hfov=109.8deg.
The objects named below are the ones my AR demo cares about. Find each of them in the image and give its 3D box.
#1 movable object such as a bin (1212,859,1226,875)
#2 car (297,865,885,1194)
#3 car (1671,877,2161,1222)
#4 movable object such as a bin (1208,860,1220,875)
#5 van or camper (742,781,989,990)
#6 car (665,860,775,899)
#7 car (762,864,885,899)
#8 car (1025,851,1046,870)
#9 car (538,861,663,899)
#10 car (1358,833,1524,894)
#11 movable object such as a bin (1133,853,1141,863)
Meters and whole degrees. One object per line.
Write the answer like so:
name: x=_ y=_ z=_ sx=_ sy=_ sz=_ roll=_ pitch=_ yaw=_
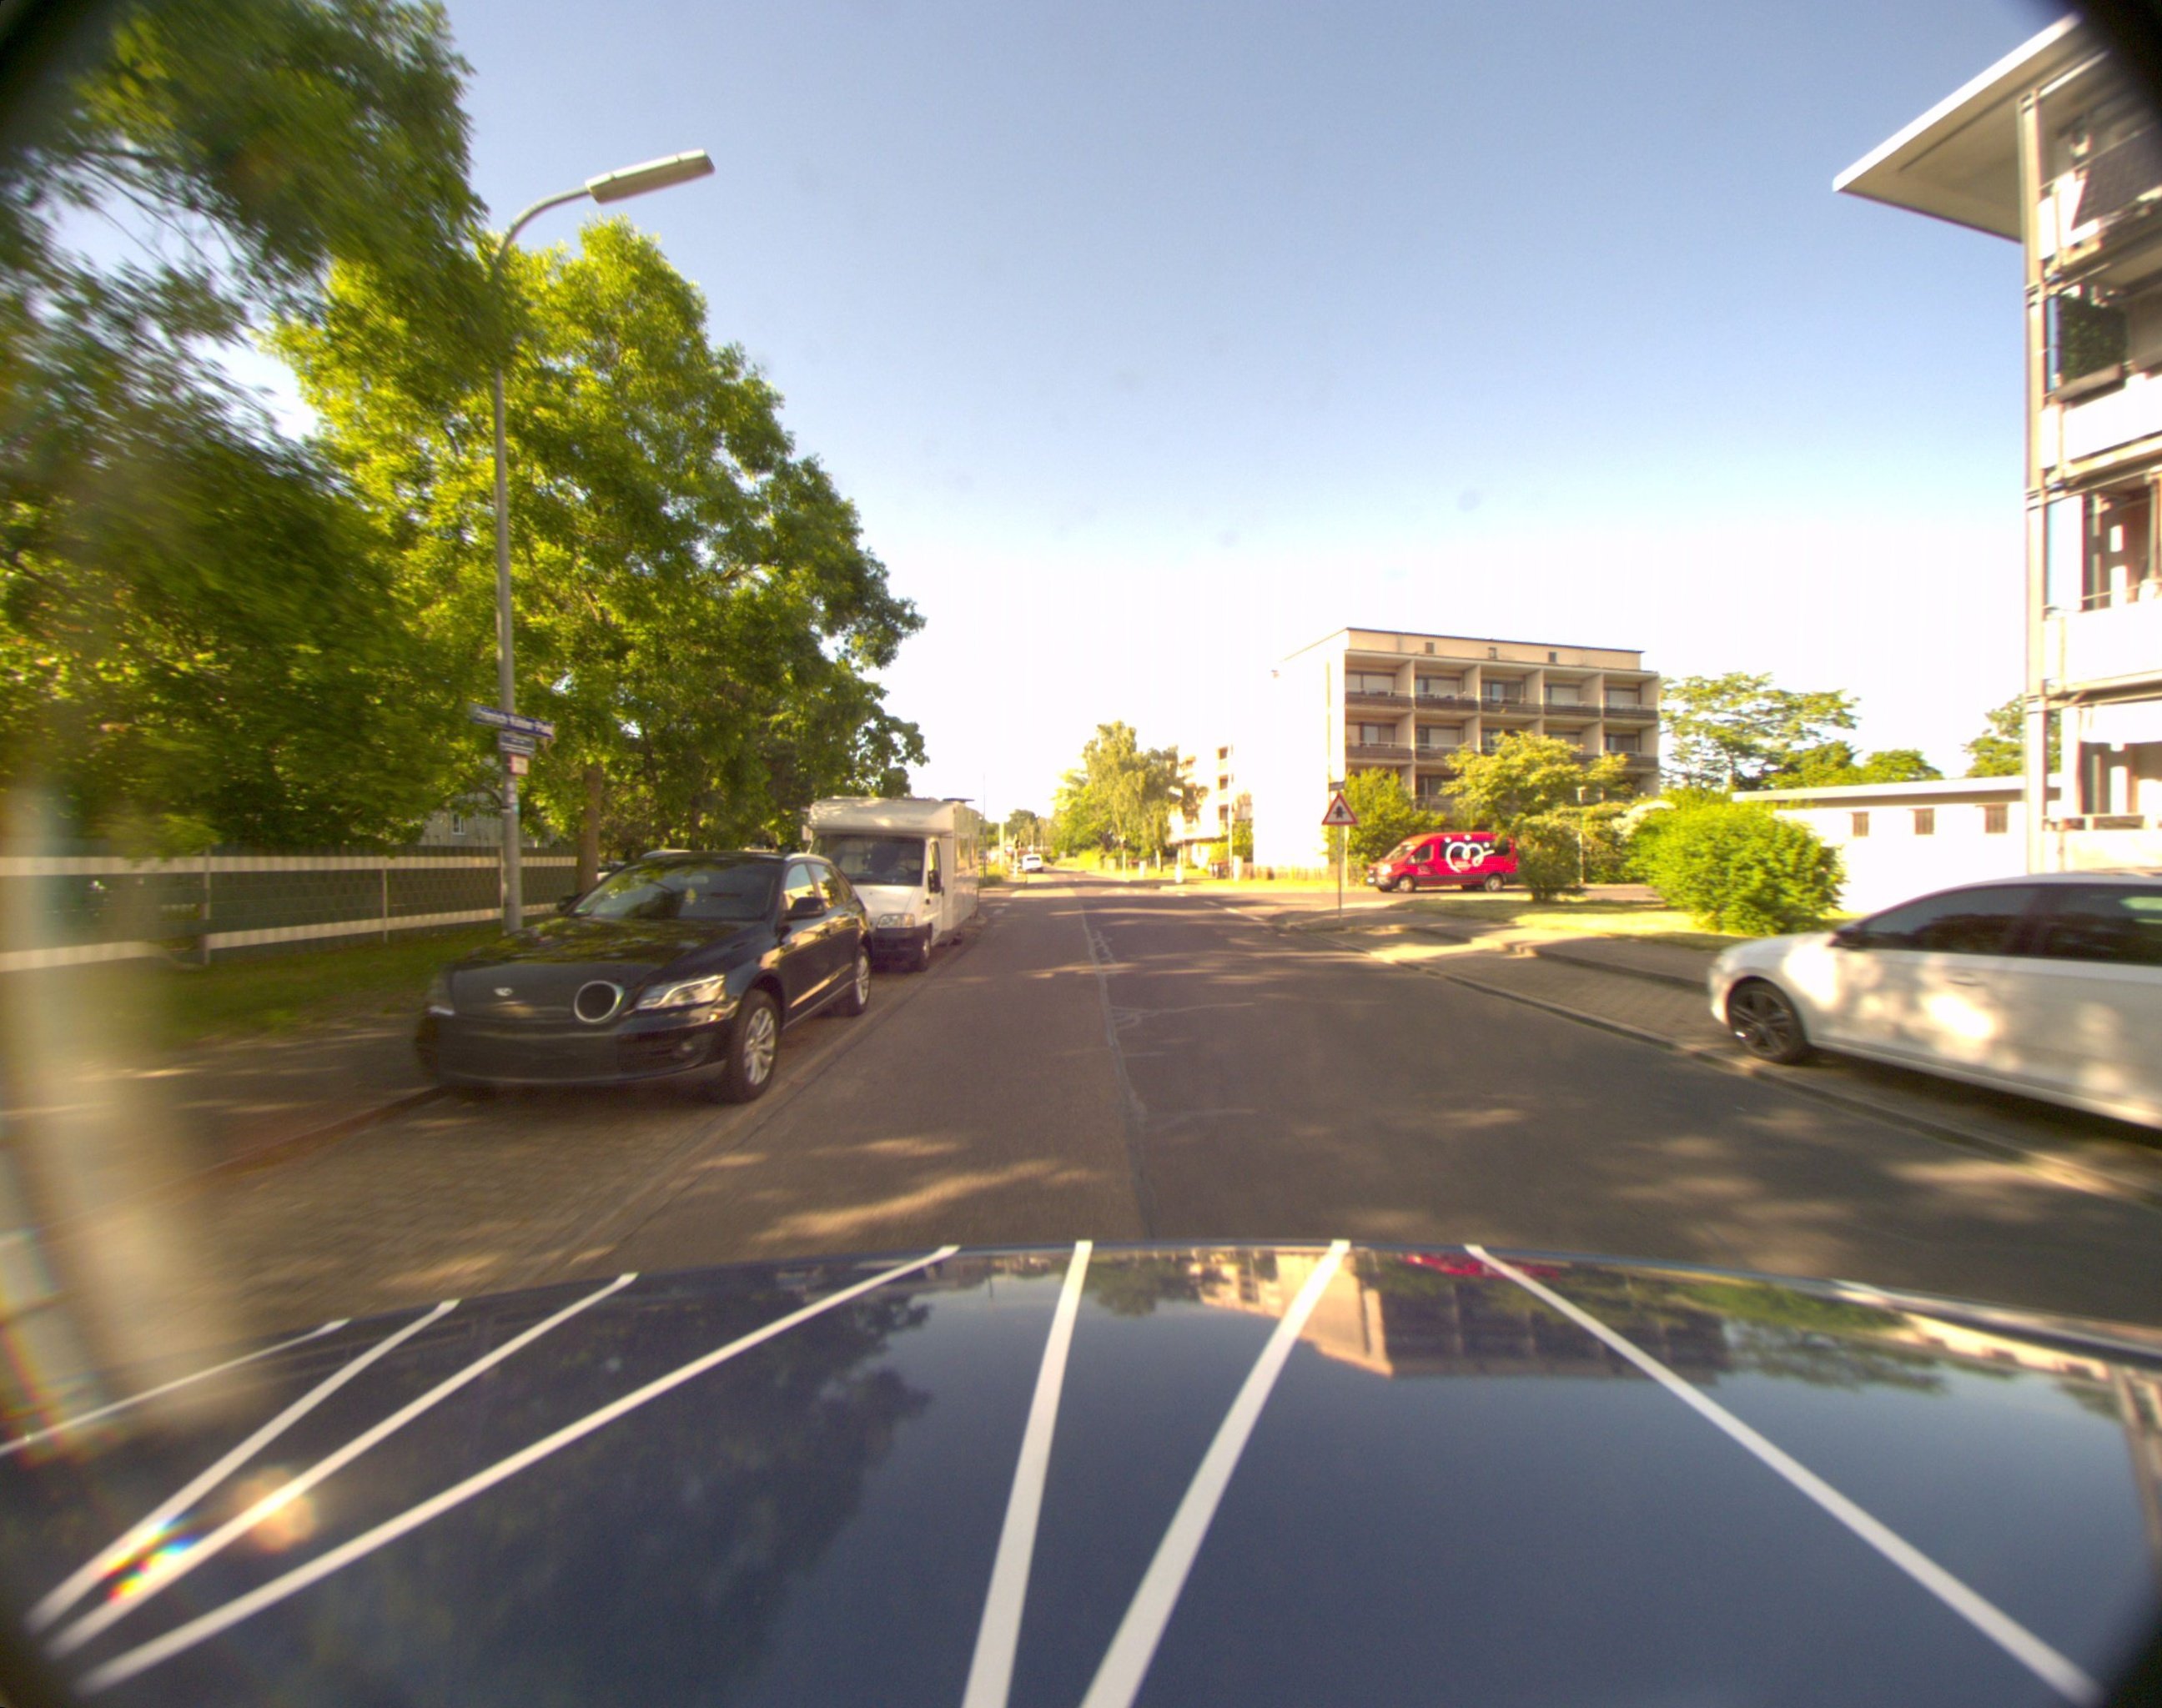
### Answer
movable object such as a bin: x=9.672 y=0.907 z=53.222 sx=0.629 sy=1.042 sz=0.701 roll=0 pitch=1 yaw=-26
car: x=-3.126 y=0.960 z=6.228 sx=1.999 sy=1.631 sz=4.535 roll=1 pitch=0 yaw=-3
car: x=5.743 y=0.936 z=4.179 sx=1.650 sy=1.458 sz=4.330 roll=-1 pitch=0 yaw=0
movable object such as a bin: x=9.416 y=0.981 z=53.812 sx=0.565 sy=1.047 sz=0.556 roll=0 pitch=1 yaw=-25
van or camper: x=-3.165 y=0.412 z=13.017 sx=2.358 sy=2.581 sz=6.425 roll=3 pitch=0 yaw=-1
car: x=-14.936 y=1.029 z=31.558 sx=3.692 sy=1.569 sz=1.829 roll=0 pitch=0 yaw=5
car: x=-10.531 y=1.142 z=31.260 sx=4.435 sy=1.329 sz=1.747 roll=-1 pitch=-1 yaw=2
car: x=-4.665 y=0.634 z=78.027 sx=1.921 sy=1.860 sz=4.862 roll=-2 pitch=0 yaw=-6
car: x=-20.261 y=1.083 z=32.144 sx=4.111 sy=1.532 sz=1.974 roll=0 pitch=-1 yaw=4
car: x=14.853 y=0.419 z=31.575 sx=5.921 sy=2.414 sz=2.213 roll=0 pitch=-1 yaw=-3
movable object such as a bin: x=6.032 y=0.444 z=81.718 sx=0.623 sy=1.018 sz=0.710 roll=0 pitch=0 yaw=-10
